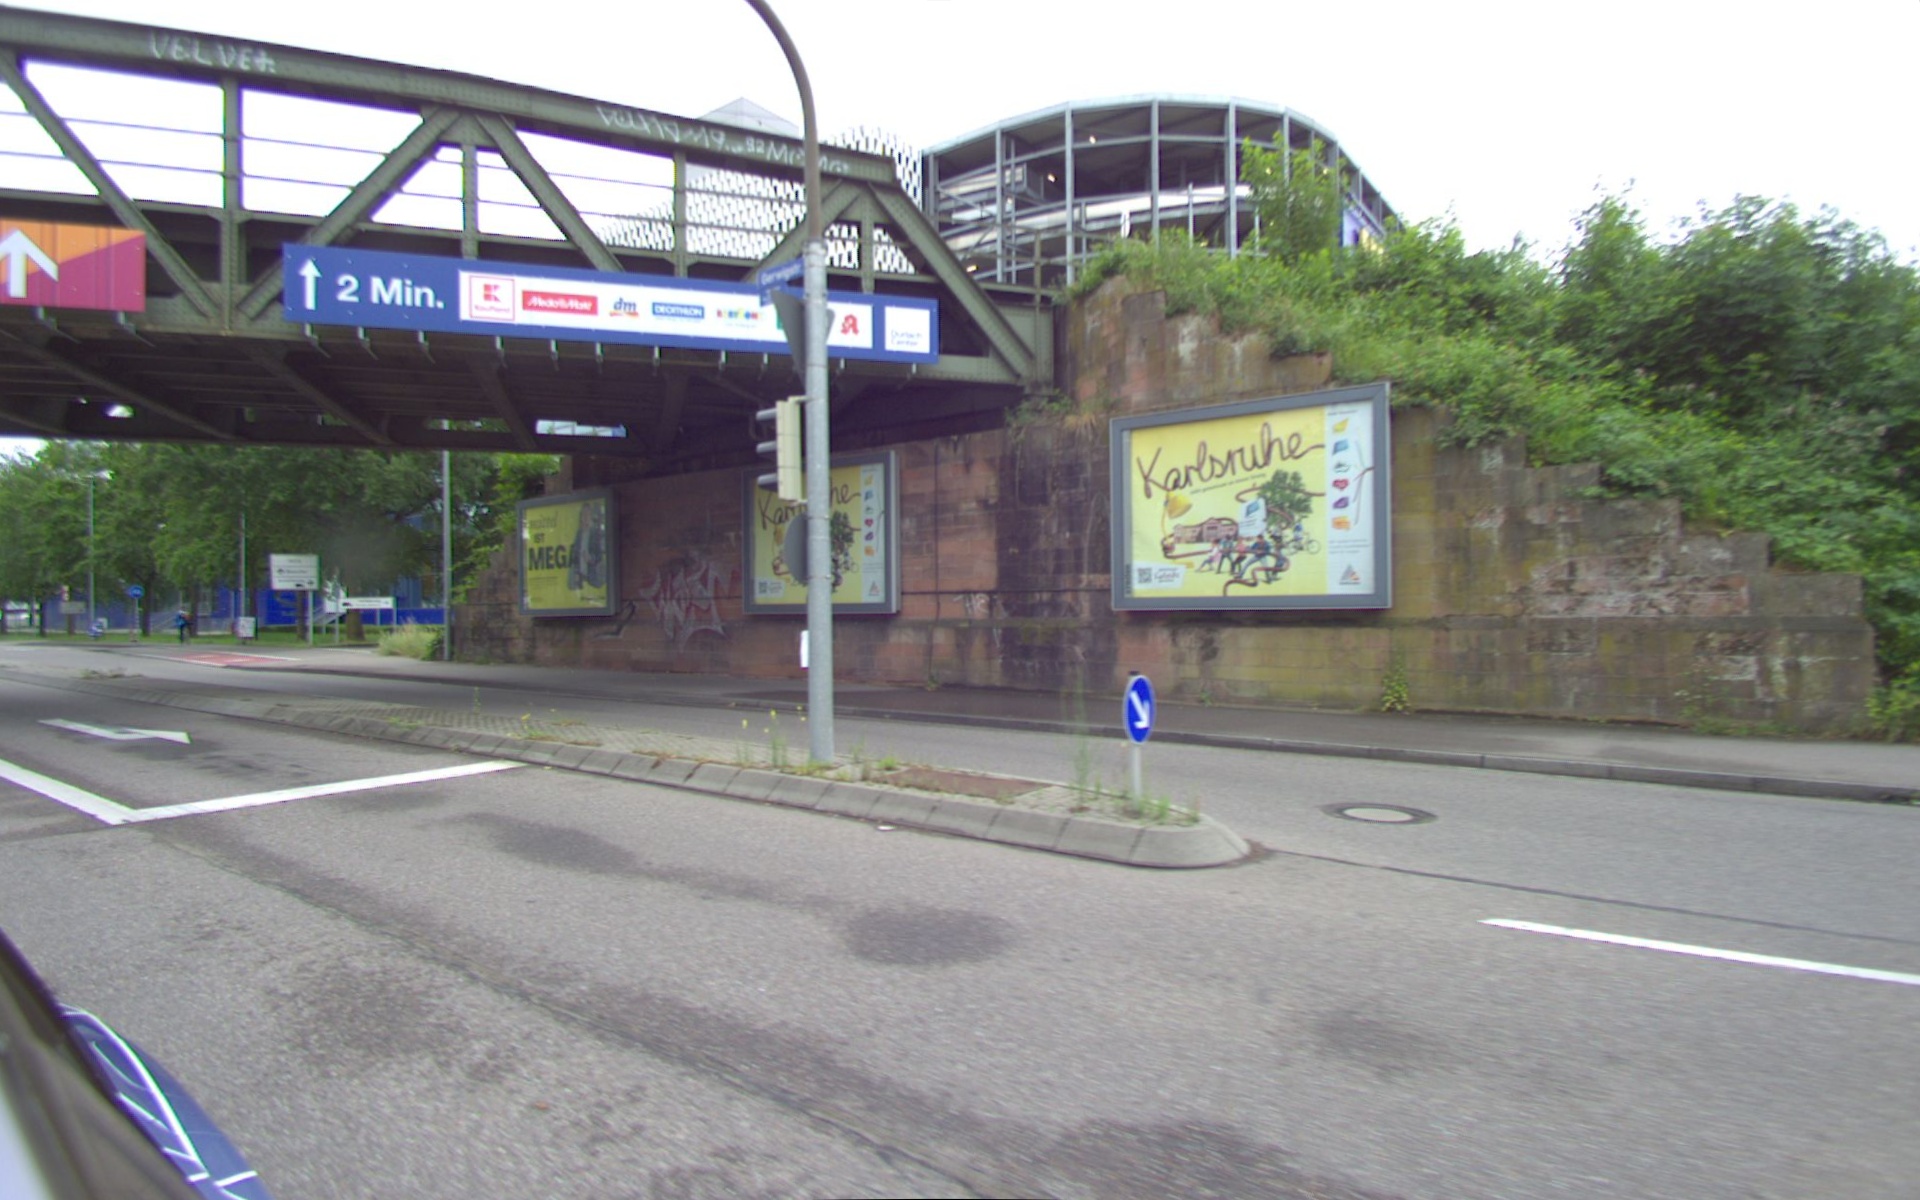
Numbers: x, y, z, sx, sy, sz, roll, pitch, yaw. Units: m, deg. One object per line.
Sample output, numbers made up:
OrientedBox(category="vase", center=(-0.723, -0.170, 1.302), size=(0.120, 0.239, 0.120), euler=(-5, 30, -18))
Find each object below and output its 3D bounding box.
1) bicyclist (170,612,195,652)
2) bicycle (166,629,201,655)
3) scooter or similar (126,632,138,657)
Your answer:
OrientedBox(category="bicyclist", center=(-37.824, 1.530, 49.249), size=(1.018, 1.888, 0.695), euler=(-1, 1, 37))
OrientedBox(category="bicycle", center=(-37.802, 2.013, 49.253), size=(2.367, 1.195, 0.706), euler=(-1, 1, 37))
OrientedBox(category="scooter or similar", center=(-46.440, 2.486, 56.776), size=(0.442, 1.331, 1.507), euler=(0, -1, -43))
